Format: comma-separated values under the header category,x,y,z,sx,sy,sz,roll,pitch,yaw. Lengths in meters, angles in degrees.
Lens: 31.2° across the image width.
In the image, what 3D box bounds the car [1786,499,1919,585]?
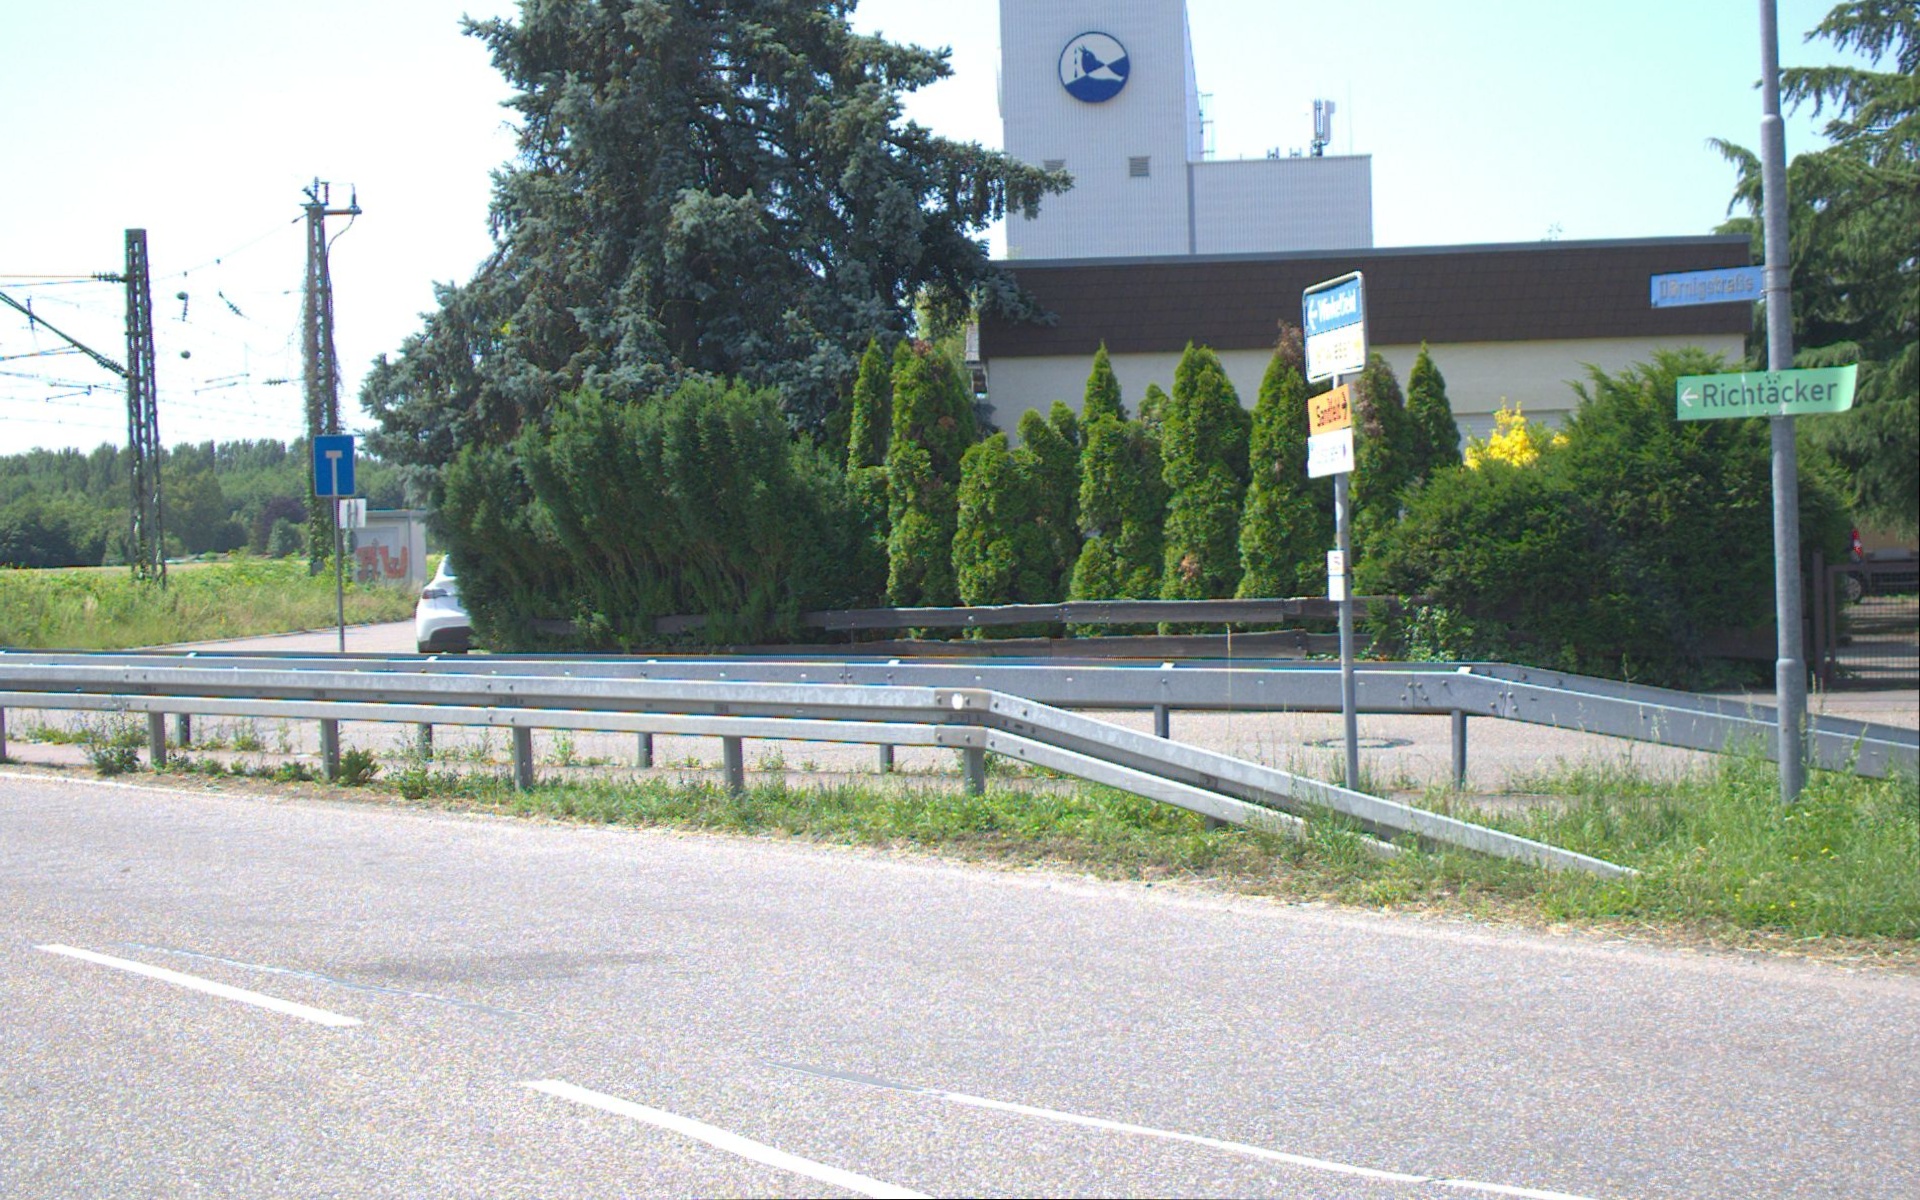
category,x,y,z,sx,sy,sz,roll,pitch,yaw
car,17.920,-1.143,66.441,3.524,1.580,1.565,-2,2,2

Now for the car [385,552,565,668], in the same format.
category,x,y,z,sx,sy,sz,roll,pitch,yaw
car,-7.072,0.117,50.540,1.993,1.504,4.455,-2,2,0
